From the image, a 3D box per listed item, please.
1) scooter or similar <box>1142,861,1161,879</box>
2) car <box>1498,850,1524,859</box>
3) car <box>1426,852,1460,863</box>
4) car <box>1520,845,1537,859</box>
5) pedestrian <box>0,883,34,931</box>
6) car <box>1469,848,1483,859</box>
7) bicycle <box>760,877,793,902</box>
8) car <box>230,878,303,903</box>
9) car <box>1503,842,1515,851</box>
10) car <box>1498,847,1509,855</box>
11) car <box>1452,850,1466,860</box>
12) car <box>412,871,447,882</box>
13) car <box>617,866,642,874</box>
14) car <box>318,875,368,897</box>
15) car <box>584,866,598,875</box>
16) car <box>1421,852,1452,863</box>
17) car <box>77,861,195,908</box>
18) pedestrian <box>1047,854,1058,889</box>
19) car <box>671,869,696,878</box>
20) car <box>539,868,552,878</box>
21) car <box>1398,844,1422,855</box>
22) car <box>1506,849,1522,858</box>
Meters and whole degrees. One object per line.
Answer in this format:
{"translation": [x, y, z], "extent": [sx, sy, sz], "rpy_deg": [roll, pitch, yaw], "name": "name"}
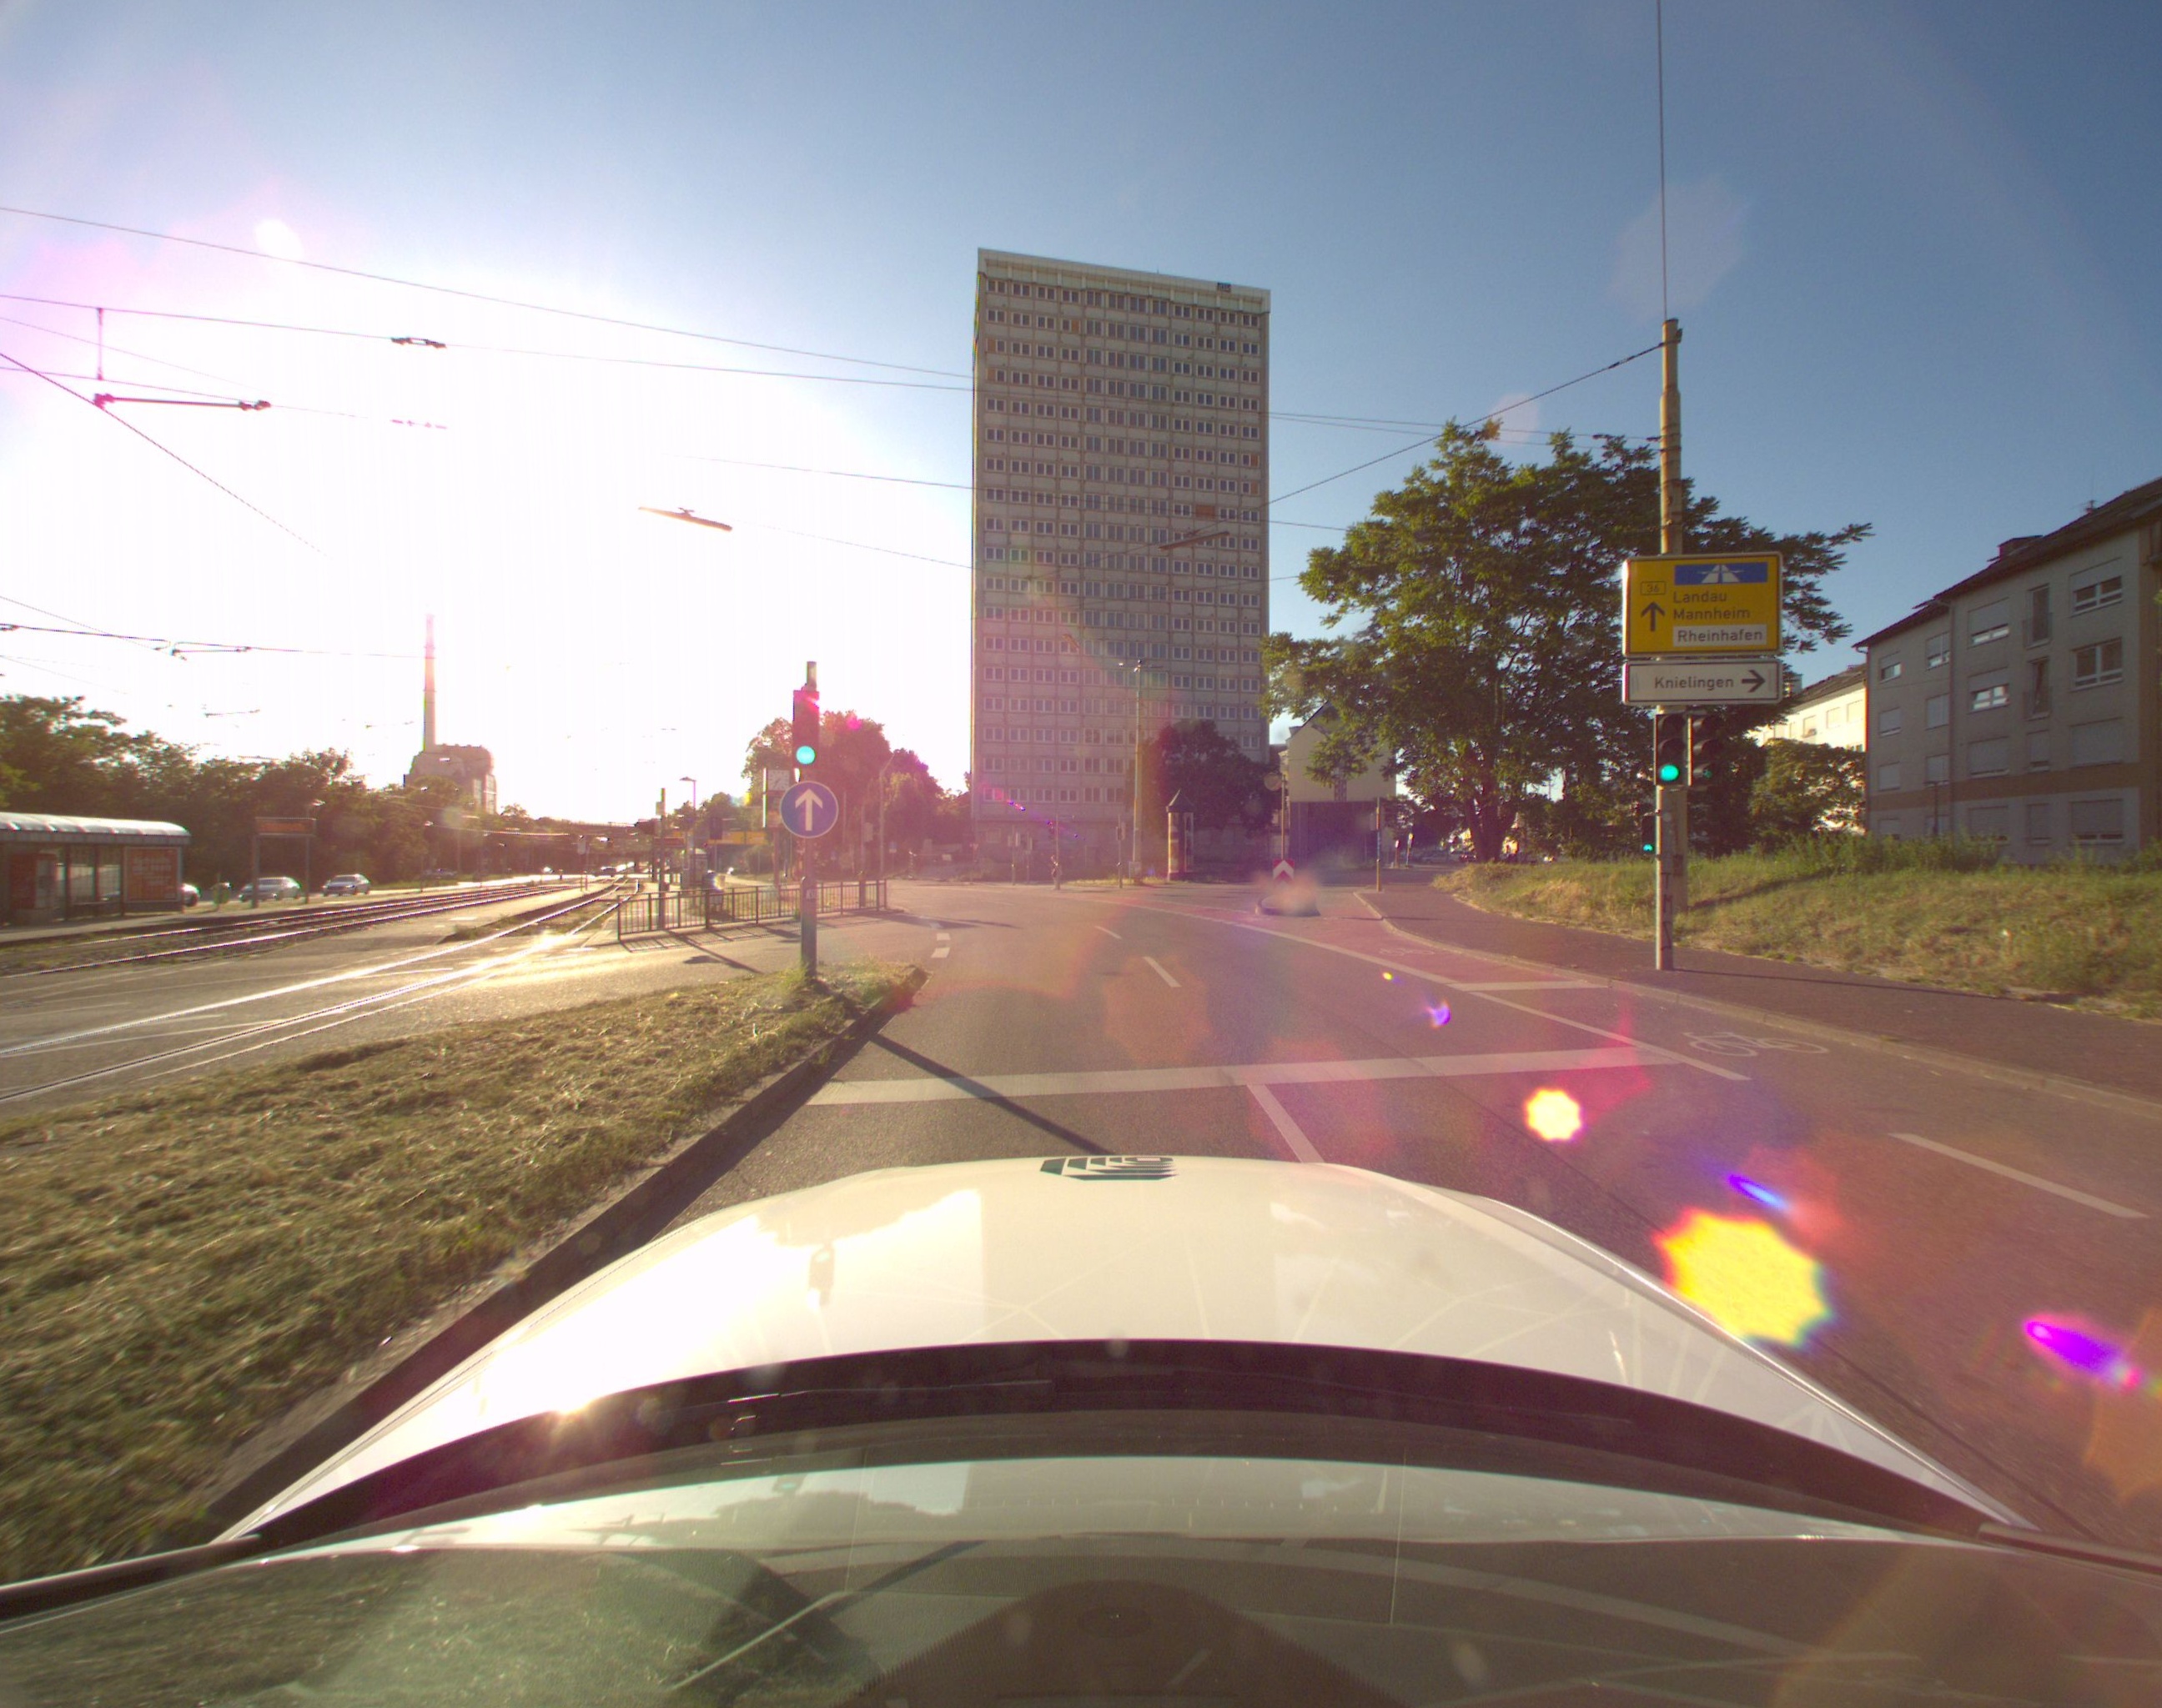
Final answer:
{"translation": [4.856, 1.105, 56.022], "extent": [1.296, 1.170, 0.326], "rpy_deg": [-1, 0, -8], "name": "scooter or similar"}
{"translation": [76.163, 0.147, 144.228], "extent": [4.011, 1.458, 1.890], "rpy_deg": [-1, -1, 24], "name": "car"}
{"translation": [43.631, 0.385, 98.252], "extent": [3.669, 1.301, 1.519], "rpy_deg": [-1, 0, 21], "name": "car"}
{"translation": [63.563, -0.245, 115.712], "extent": [1.842, 1.904, 4.023], "rpy_deg": [-1, -1, 26], "name": "car"}
{"translation": [-28.040, 1.379, 21.053], "extent": [0.847, 1.188, 0.915], "rpy_deg": [-1, 0, -25], "name": "pedestrian"}
{"translation": [67.090, -0.071, 138.240], "extent": [1.841, 1.904, 4.025], "rpy_deg": [-1, 0, 29], "name": "car"}
{"translation": [-12.256, 1.412, 32.843], "extent": [0.551, 0.918, 1.745], "rpy_deg": [-2, 0, 4], "name": "bicycle"}
{"translation": [-50.500, 2.234, 50.592], "extent": [1.809, 1.367, 3.936], "rpy_deg": [0, 1, -22], "name": "car"}
{"translation": [79.489, -1.368, 151.423], "extent": [1.841, 1.543, 3.902], "rpy_deg": [-1, 0, 27], "name": "car"}
{"translation": [85.140, -0.526, 164.249], "extent": [1.841, 1.543, 4.024], "rpy_deg": [-1, 0, 27], "name": "car"}
{"translation": [57.678, 0.168, 124.276], "extent": [1.856, 1.458, 3.809], "rpy_deg": [-1, 0, 26], "name": "car"}
{"translation": [-104.526, 3.586, 130.628], "extent": [1.974, 1.750, 4.026], "rpy_deg": [-2, -1, 36], "name": "car"}
{"translation": [-109.913, 3.848, 198.187], "extent": [4.782, 2.013, 1.994], "rpy_deg": [0, 0, -9], "name": "car"}
{"translation": [-55.783, 2.407, 61.641], "extent": [1.665, 1.532, 4.352], "rpy_deg": [-1, -1, -27], "name": "car"}
{"translation": [-110.869, 3.756, 184.199], "extent": [2.002, 2.014, 4.826], "rpy_deg": [-1, -1, -22], "name": "car"}
{"translation": [46.157, 0.433, 105.847], "extent": [3.517, 1.350, 1.716], "rpy_deg": [-1, 0, 20], "name": "car"}
{"translation": [-44.243, 1.381, 38.267], "extent": [2.003, 2.014, 4.127], "rpy_deg": [-1, -1, -24], "name": "car"}
{"translation": [-1.335, 0.820, 38.522], "extent": [0.434, 1.612, 0.630], "rpy_deg": [-1, -1, 1], "name": "pedestrian"}
{"translation": [-95.641, 4.635, 196.022], "extent": [4.847, 2.013, 1.993], "rpy_deg": [0, 0, -10], "name": "car"}
{"translation": [-120.010, 4.268, 182.437], "extent": [2.004, 2.014, 3.965], "rpy_deg": [-1, -1, -27], "name": "car"}
{"translation": [60.348, -0.755, 149.380], "extent": [3.950, 1.904, 1.876], "rpy_deg": [-1, 0, 26], "name": "car"}
{"translation": [70.809, -0.084, 133.184], "extent": [1.912, 1.543, 4.022], "rpy_deg": [-1, 0, 23], "name": "car"}
